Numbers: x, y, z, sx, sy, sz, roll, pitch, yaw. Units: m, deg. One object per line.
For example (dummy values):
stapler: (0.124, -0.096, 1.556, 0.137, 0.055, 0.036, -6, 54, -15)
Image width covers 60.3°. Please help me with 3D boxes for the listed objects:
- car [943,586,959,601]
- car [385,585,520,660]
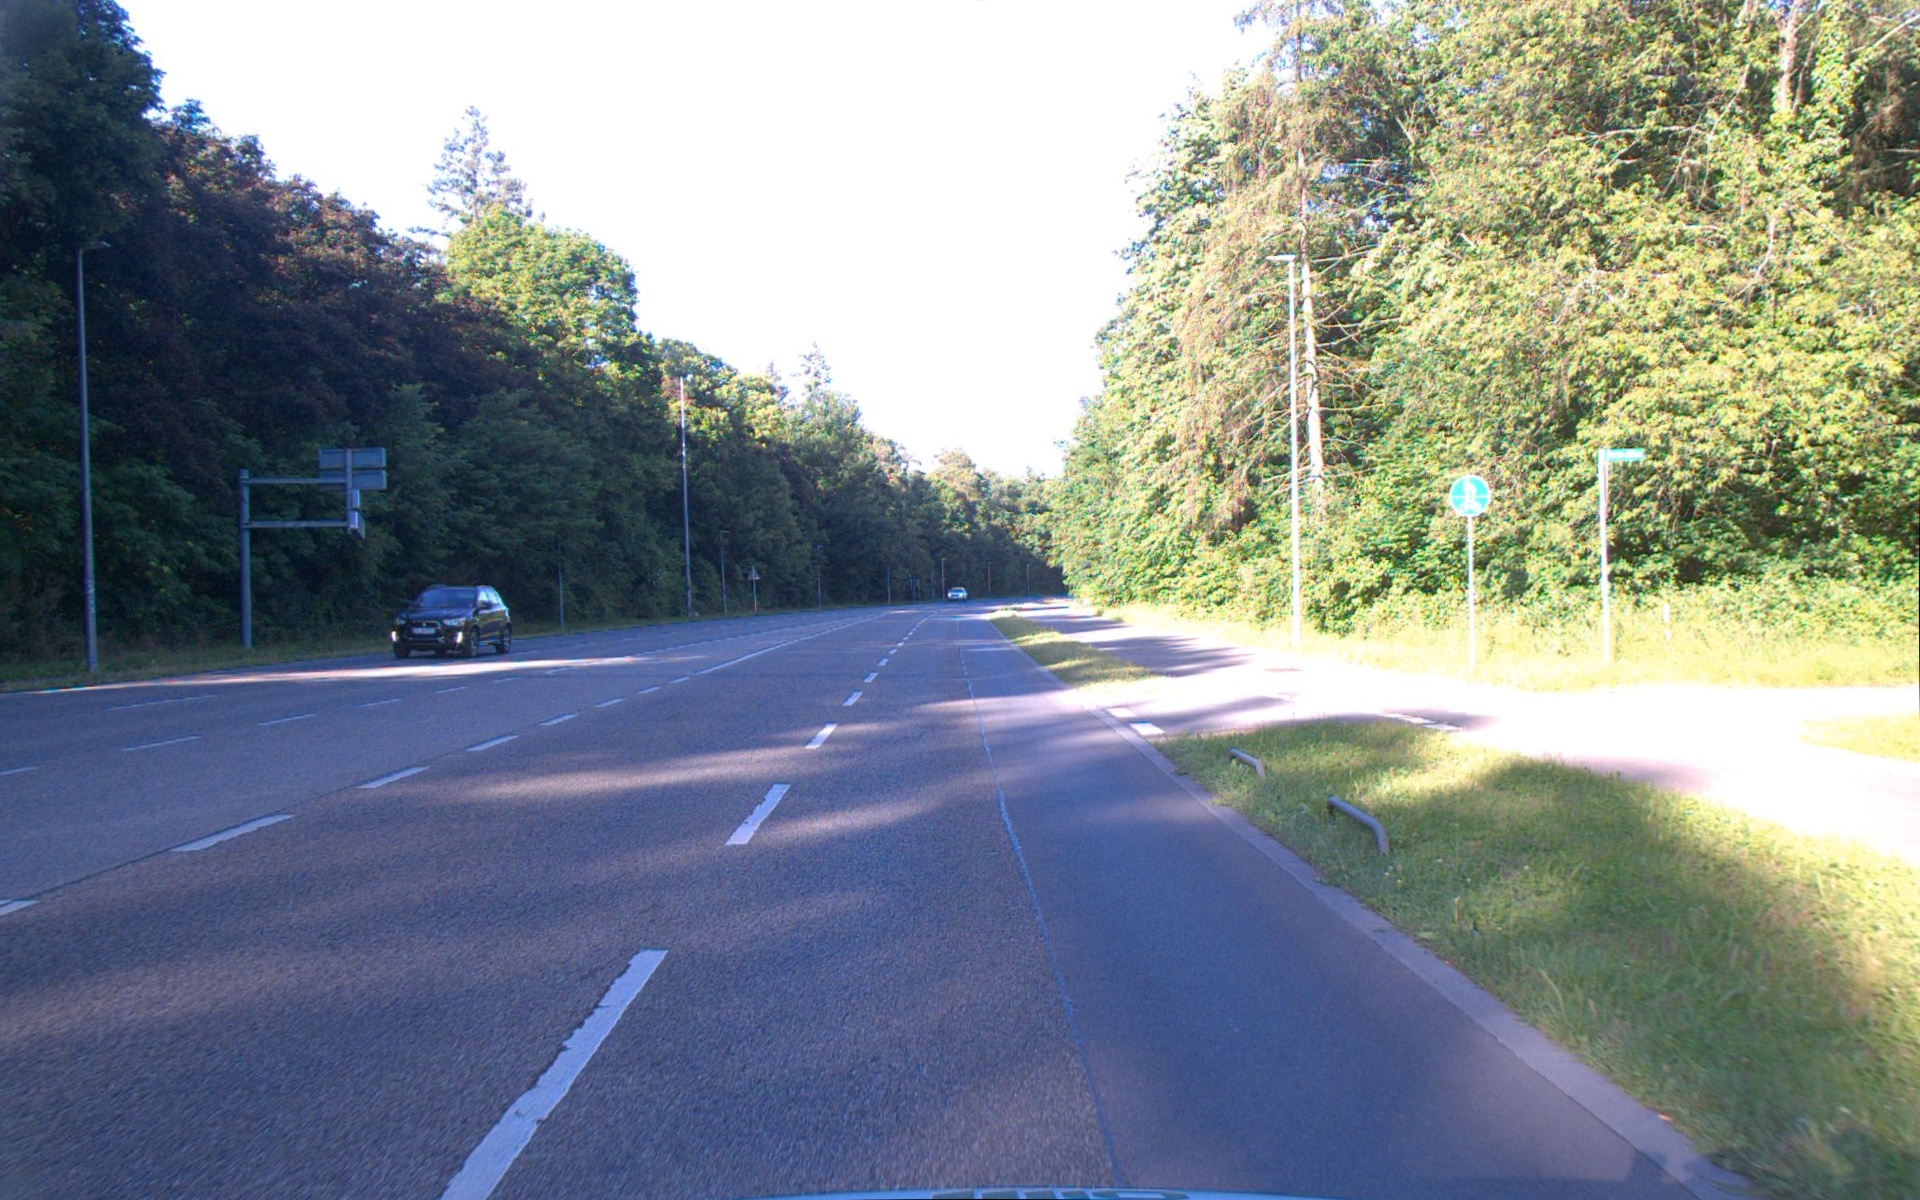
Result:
car: (-1.048, -0.754, 192.138, 1.869, 1.693, 4.734, -1, 0, 0)
car: (-11.688, 0.481, 38.385, 1.787, 1.617, 4.351, 0, 0, 0)
